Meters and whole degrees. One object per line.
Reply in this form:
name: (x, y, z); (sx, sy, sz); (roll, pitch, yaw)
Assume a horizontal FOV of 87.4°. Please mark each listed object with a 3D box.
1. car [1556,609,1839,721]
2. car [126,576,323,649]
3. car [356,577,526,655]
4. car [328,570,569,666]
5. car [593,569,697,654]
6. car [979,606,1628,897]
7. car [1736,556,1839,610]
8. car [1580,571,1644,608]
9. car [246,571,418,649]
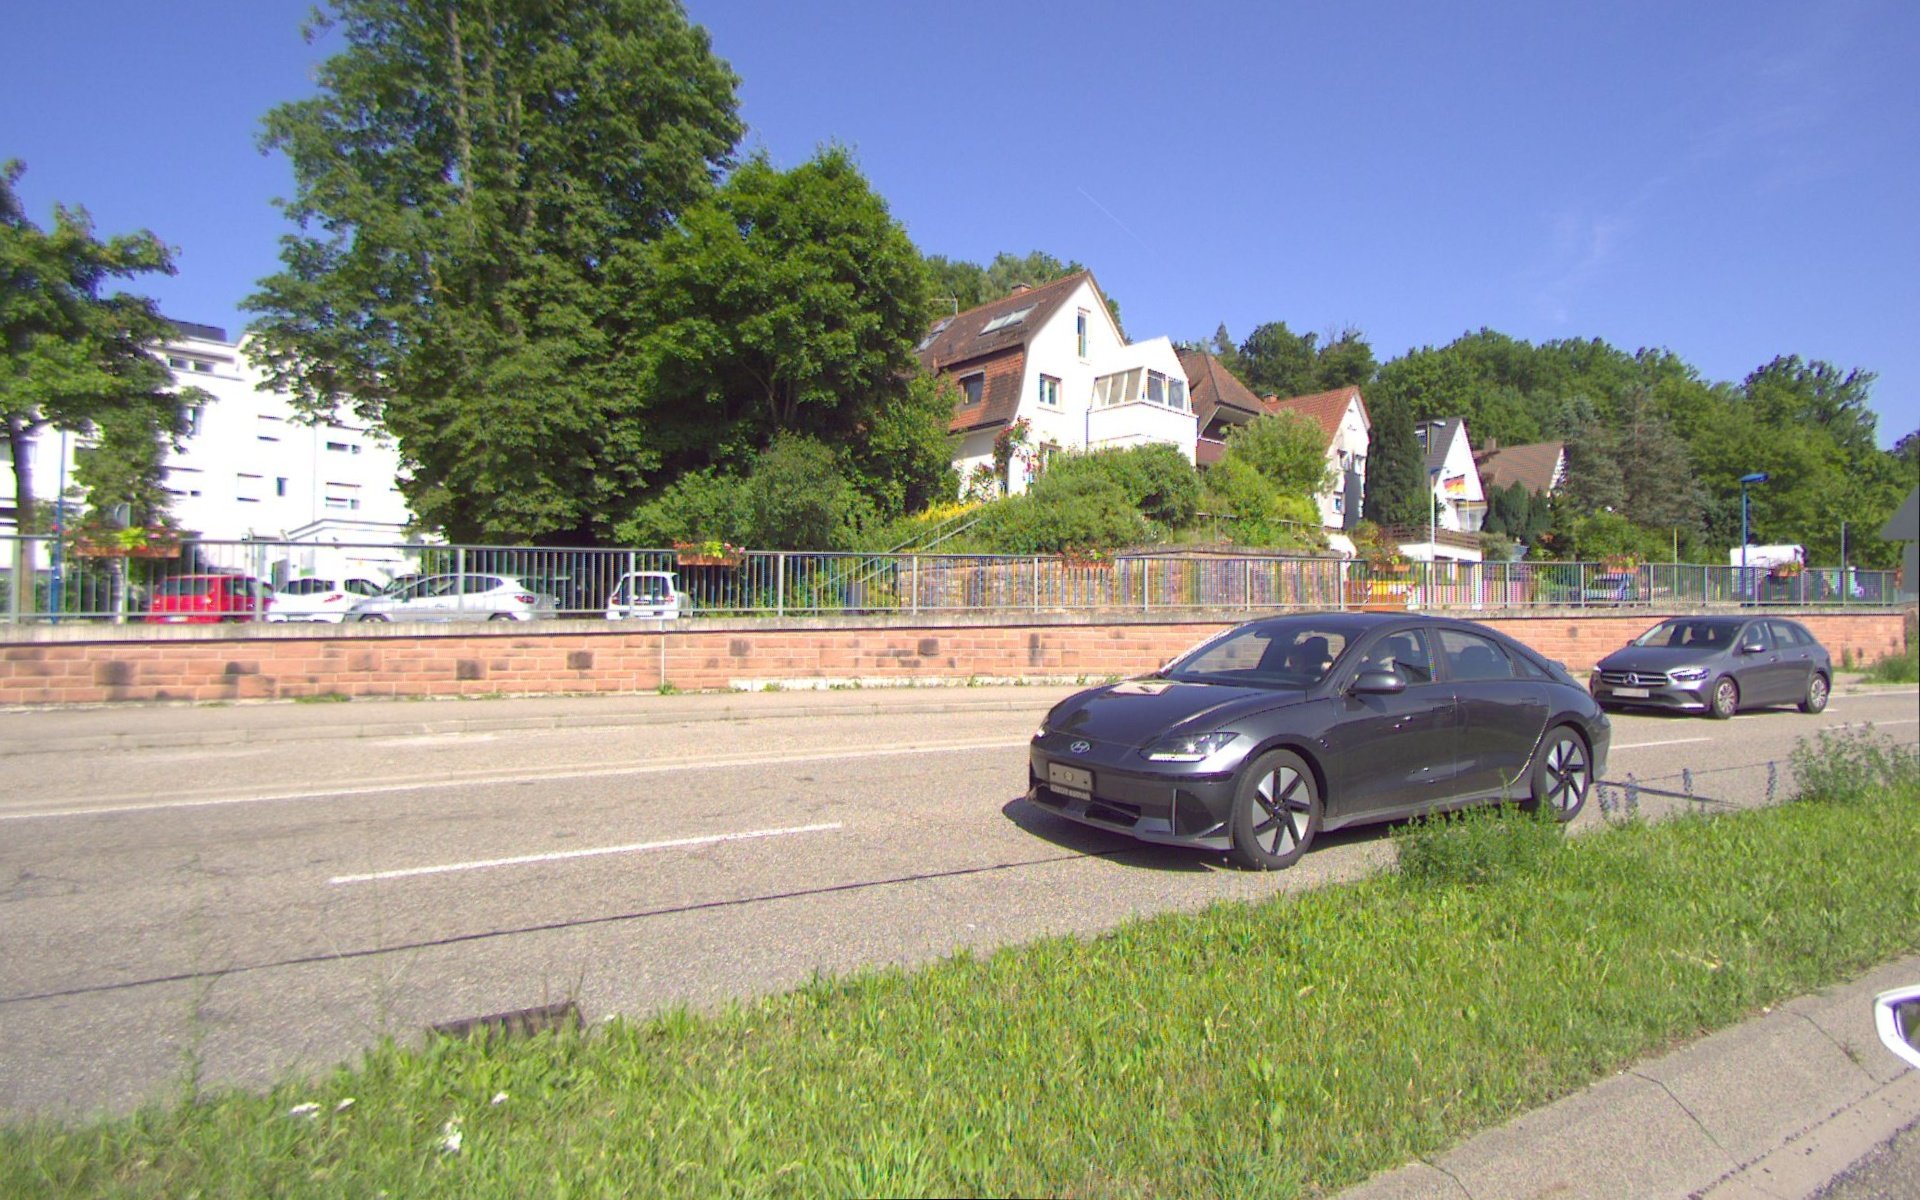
car: (11.954, 0.963, 16.247); (4.453, 1.585, 1.985); (1, 0, -28)
car: (-17.444, 0.238, 24.094); (1.877, 1.581, 3.998); (1, 1, -2)
car: (-12.191, 0.307, 23.927); (1.961, 1.694, 3.999); (1, 1, 0)
car: (-10.361, 0.369, 20.607); (3.922, 1.813, 1.921); (1, -1, -2)
car: (-7.632, 0.216, 24.681); (1.879, 1.901, 3.993); (0, 1, -9)
car: (2.577, 0.822, 7.142); (4.661, 1.490, 1.783); (1, 0, -31)
car: (31.763, -0.663, 38.517); (4.687, 1.946, 2.006); (0, 2, -37)
car: (31.208, -0.462, 48.054); (1.875, 1.651, 3.976); (0, -1, 44)
car: (-15.048, 0.166, 24.349); (1.877, 1.724, 3.996); (0, 2, -5)
